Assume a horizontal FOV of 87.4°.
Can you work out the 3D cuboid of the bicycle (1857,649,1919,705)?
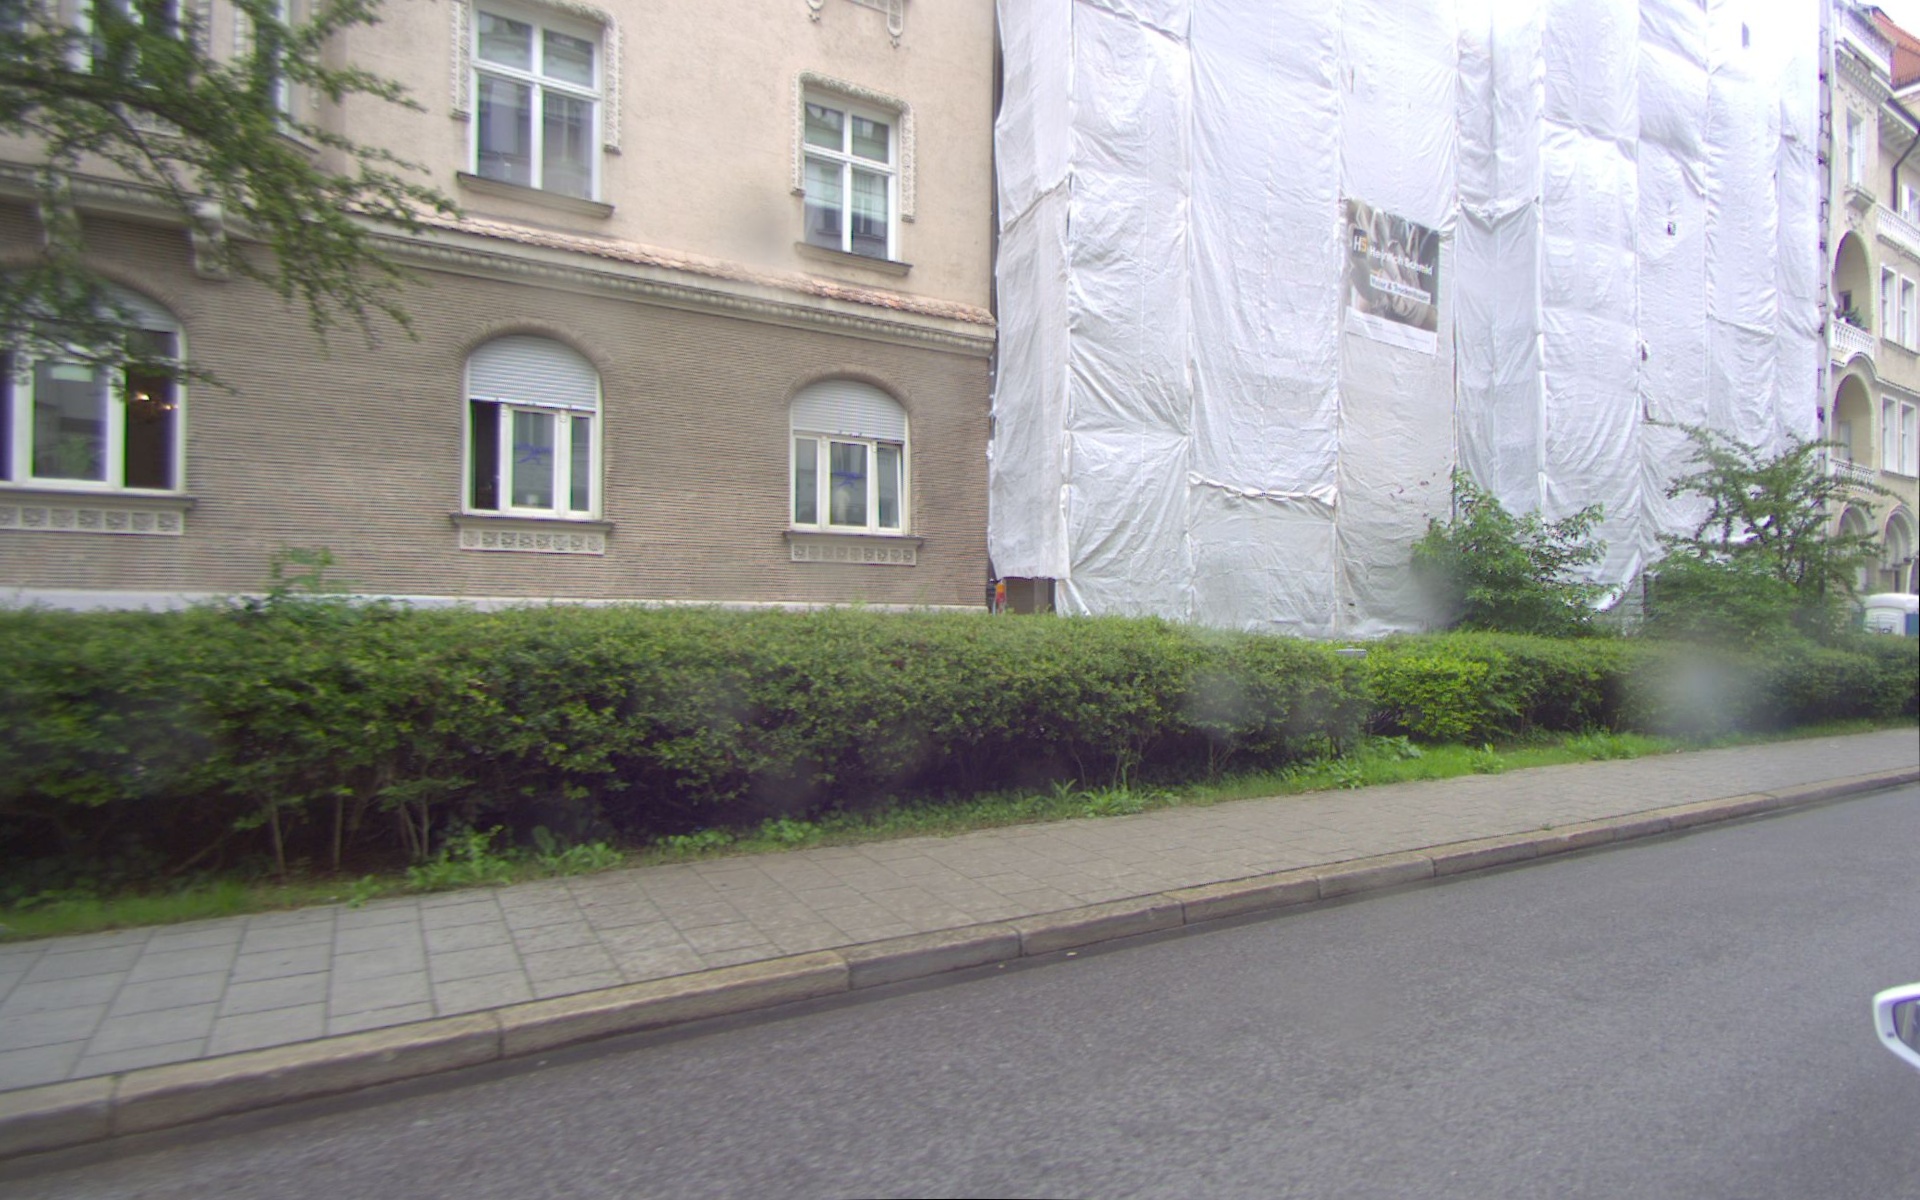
[{"bbox_3d":[20.680,1.699,21.635,0.682,1.092,1.851,1,3,-29],"label":"bicycle"}]
